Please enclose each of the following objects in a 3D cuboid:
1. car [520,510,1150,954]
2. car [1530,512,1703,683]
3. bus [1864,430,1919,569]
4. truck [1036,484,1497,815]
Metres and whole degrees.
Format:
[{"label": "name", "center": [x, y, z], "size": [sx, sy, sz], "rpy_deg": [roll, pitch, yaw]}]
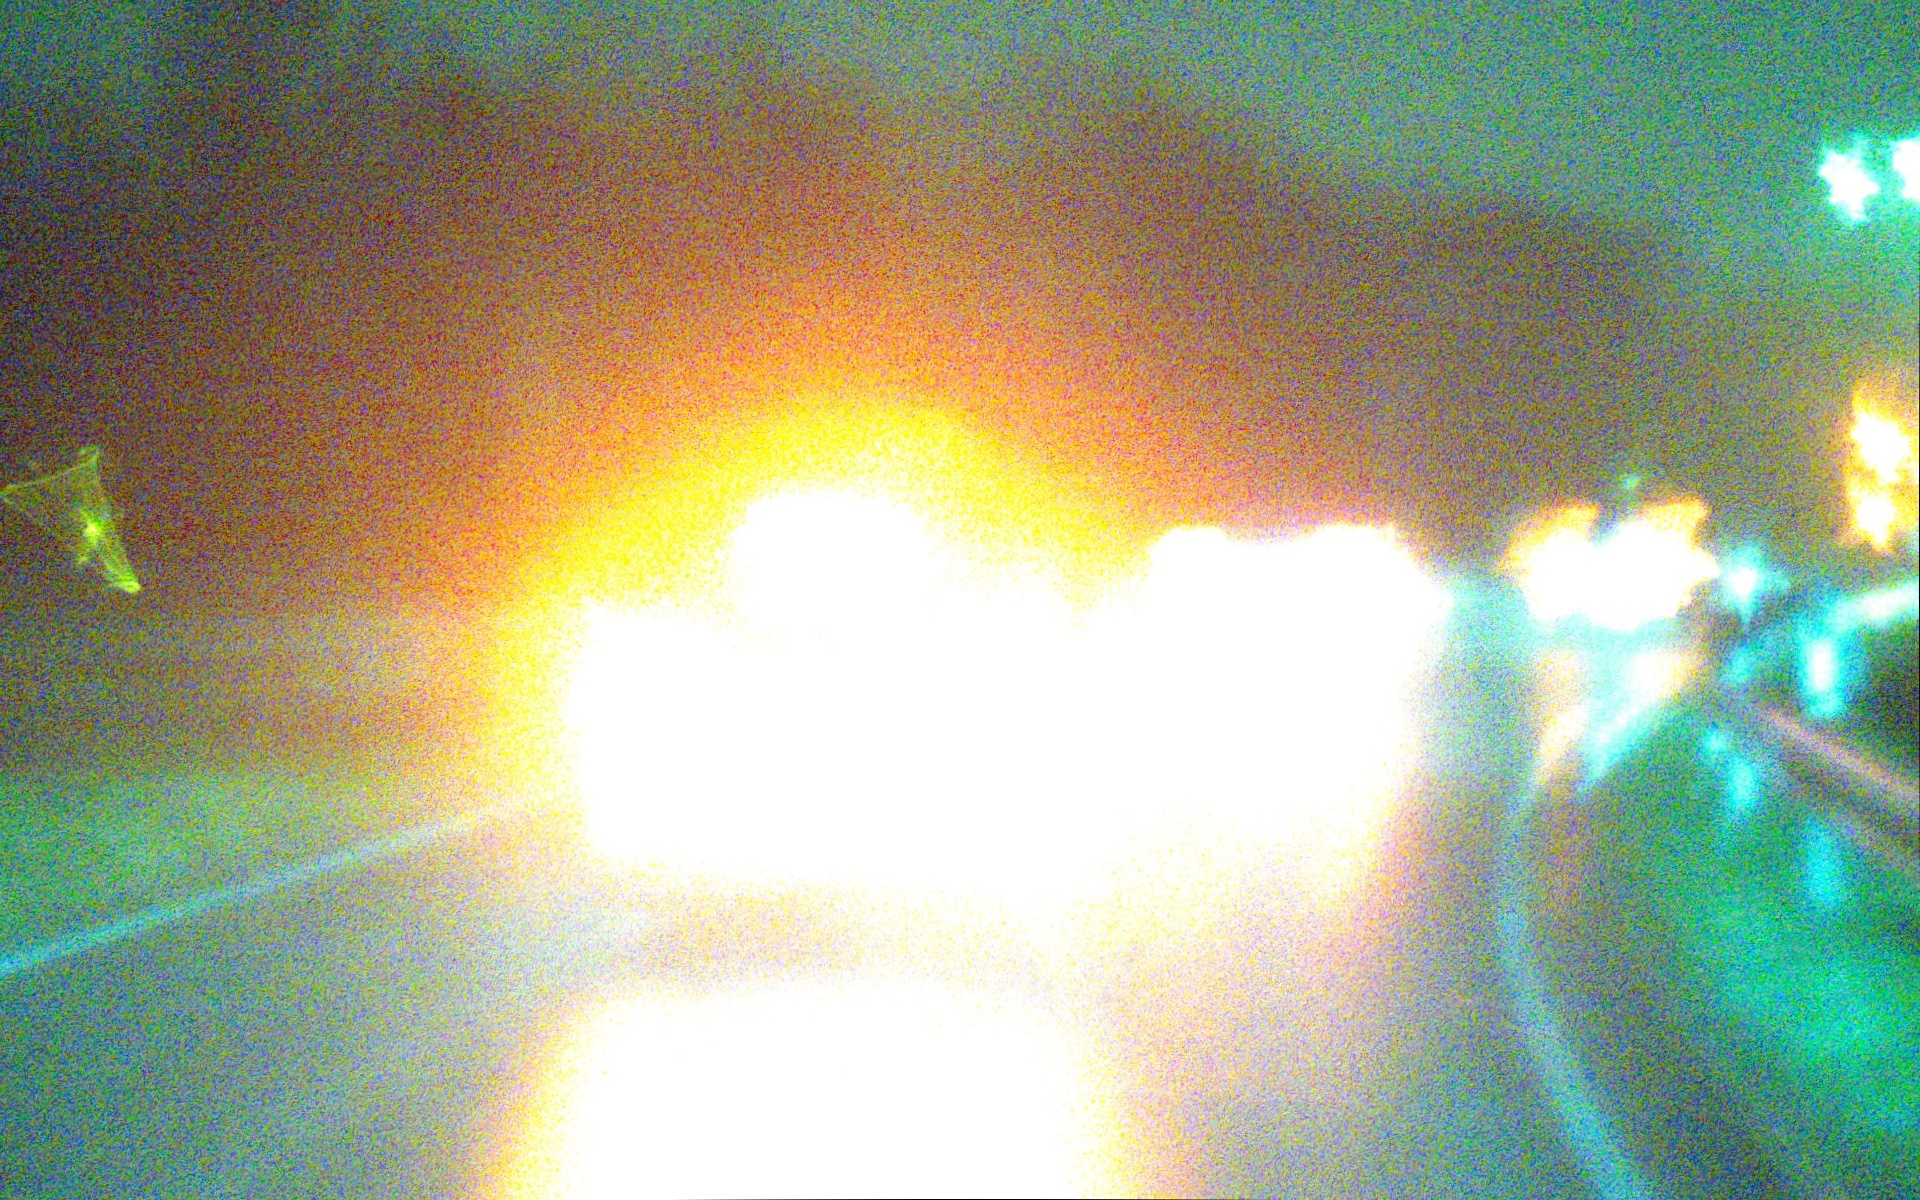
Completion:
[{"label": "car", "center": [-0.330, 0.425, 13.471], "size": [1.944, 1.486, 3.715], "rpy_deg": [-1, 1, 6]}, {"label": "car", "center": [7.959, -0.051, 41.477], "size": [1.837, 1.942, 3.998], "rpy_deg": [1, 1, 14]}, {"label": "bus", "center": [23.791, -2.382, 81.128], "size": [2.748, 3.112, 9.188], "rpy_deg": [1, 2, 28]}, {"label": "truck", "center": [2.896, 0.337, 30.155], "size": [3.071, 2.520, 7.162], "rpy_deg": [1, 1, 13]}]
